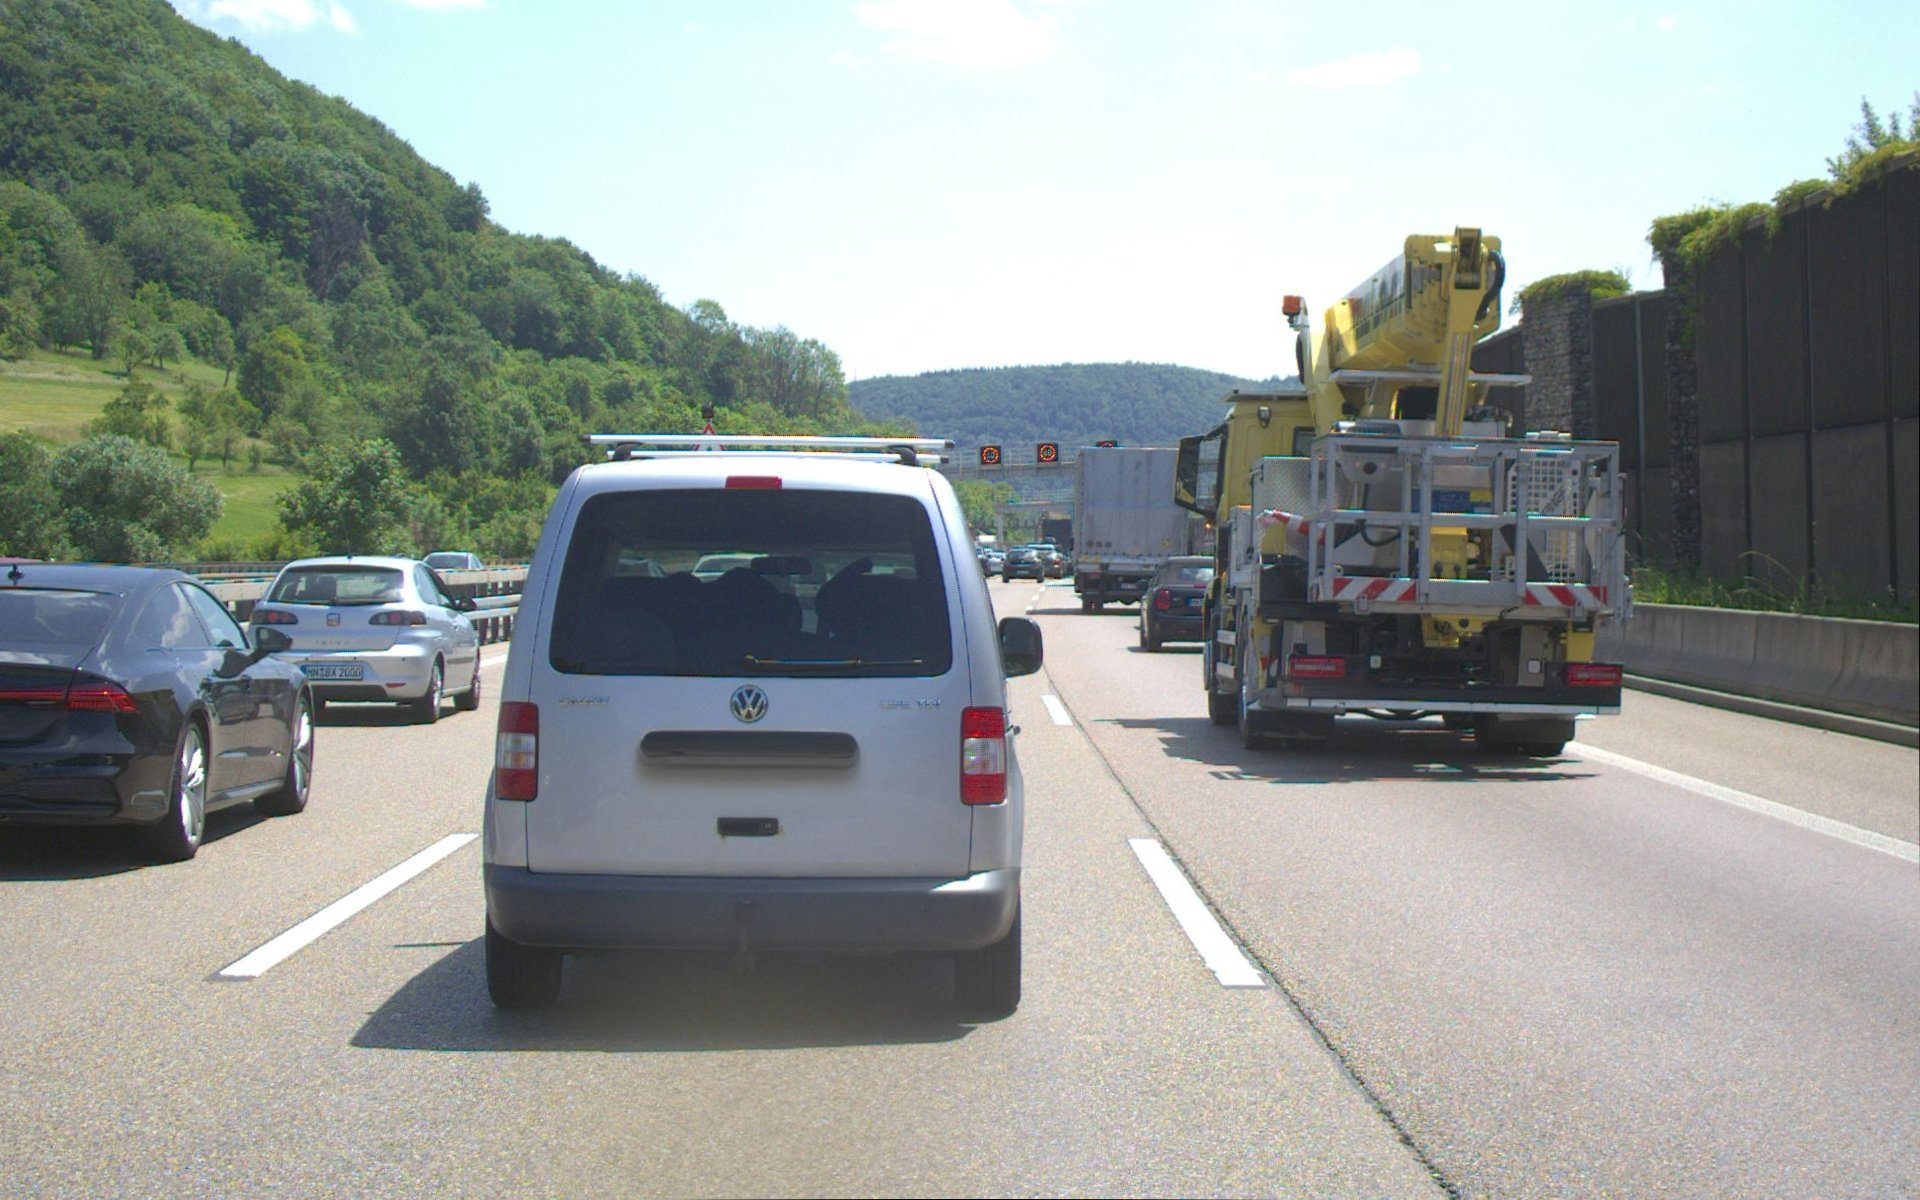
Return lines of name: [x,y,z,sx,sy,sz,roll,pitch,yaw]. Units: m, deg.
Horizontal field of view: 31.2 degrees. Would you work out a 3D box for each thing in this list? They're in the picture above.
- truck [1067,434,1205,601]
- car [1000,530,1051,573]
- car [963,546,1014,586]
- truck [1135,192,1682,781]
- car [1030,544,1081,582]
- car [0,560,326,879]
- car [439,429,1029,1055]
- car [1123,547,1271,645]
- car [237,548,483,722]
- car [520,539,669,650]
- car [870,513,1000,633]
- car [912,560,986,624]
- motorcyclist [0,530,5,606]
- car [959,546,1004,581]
truck: [4.182,-1.926,83.321,2.940,3.810,8.236,1,0,1]
car: [2.718,-2.036,143.918,1.993,1.743,4.000,1,0,0]
car: [1.346,-1.623,163.851,2.114,1.821,4.001,1,0,-4]
truck: [3.226,-0.823,27.346,2.703,3.929,8.723,0,1,-3]
car: [4.702,-1.805,169.096,2.114,1.821,4.001,1,0,-4]
car: [-4.547,0.497,17.607,1.800,1.385,4.970,0,1,-1]
car: [-0.789,0.391,12.258,1.756,1.861,4.001,0,1,-3]
car: [3.596,-0.089,52.731,1.786,1.453,3.771,0,1,-3]
car: [-5.232,0.259,30.400,1.695,1.440,3.862,0,1,-3]
car: [-5.208,-0.106,49.378,1.924,1.494,4.001,1,1,-3]
car: [-0.464,-0.473,58.667,1.993,1.969,4.001,0,1,-3]
car: [-0.340,-0.246,100.813,2.114,1.821,4.000,1,0,-1]
motorcyclist: [-19.311,-0.631,67.641,0.844,1.496,0.838,0,1,-2]
car: [1.155,-1.976,186.319,2.114,1.821,4.001,1,0,-4]
